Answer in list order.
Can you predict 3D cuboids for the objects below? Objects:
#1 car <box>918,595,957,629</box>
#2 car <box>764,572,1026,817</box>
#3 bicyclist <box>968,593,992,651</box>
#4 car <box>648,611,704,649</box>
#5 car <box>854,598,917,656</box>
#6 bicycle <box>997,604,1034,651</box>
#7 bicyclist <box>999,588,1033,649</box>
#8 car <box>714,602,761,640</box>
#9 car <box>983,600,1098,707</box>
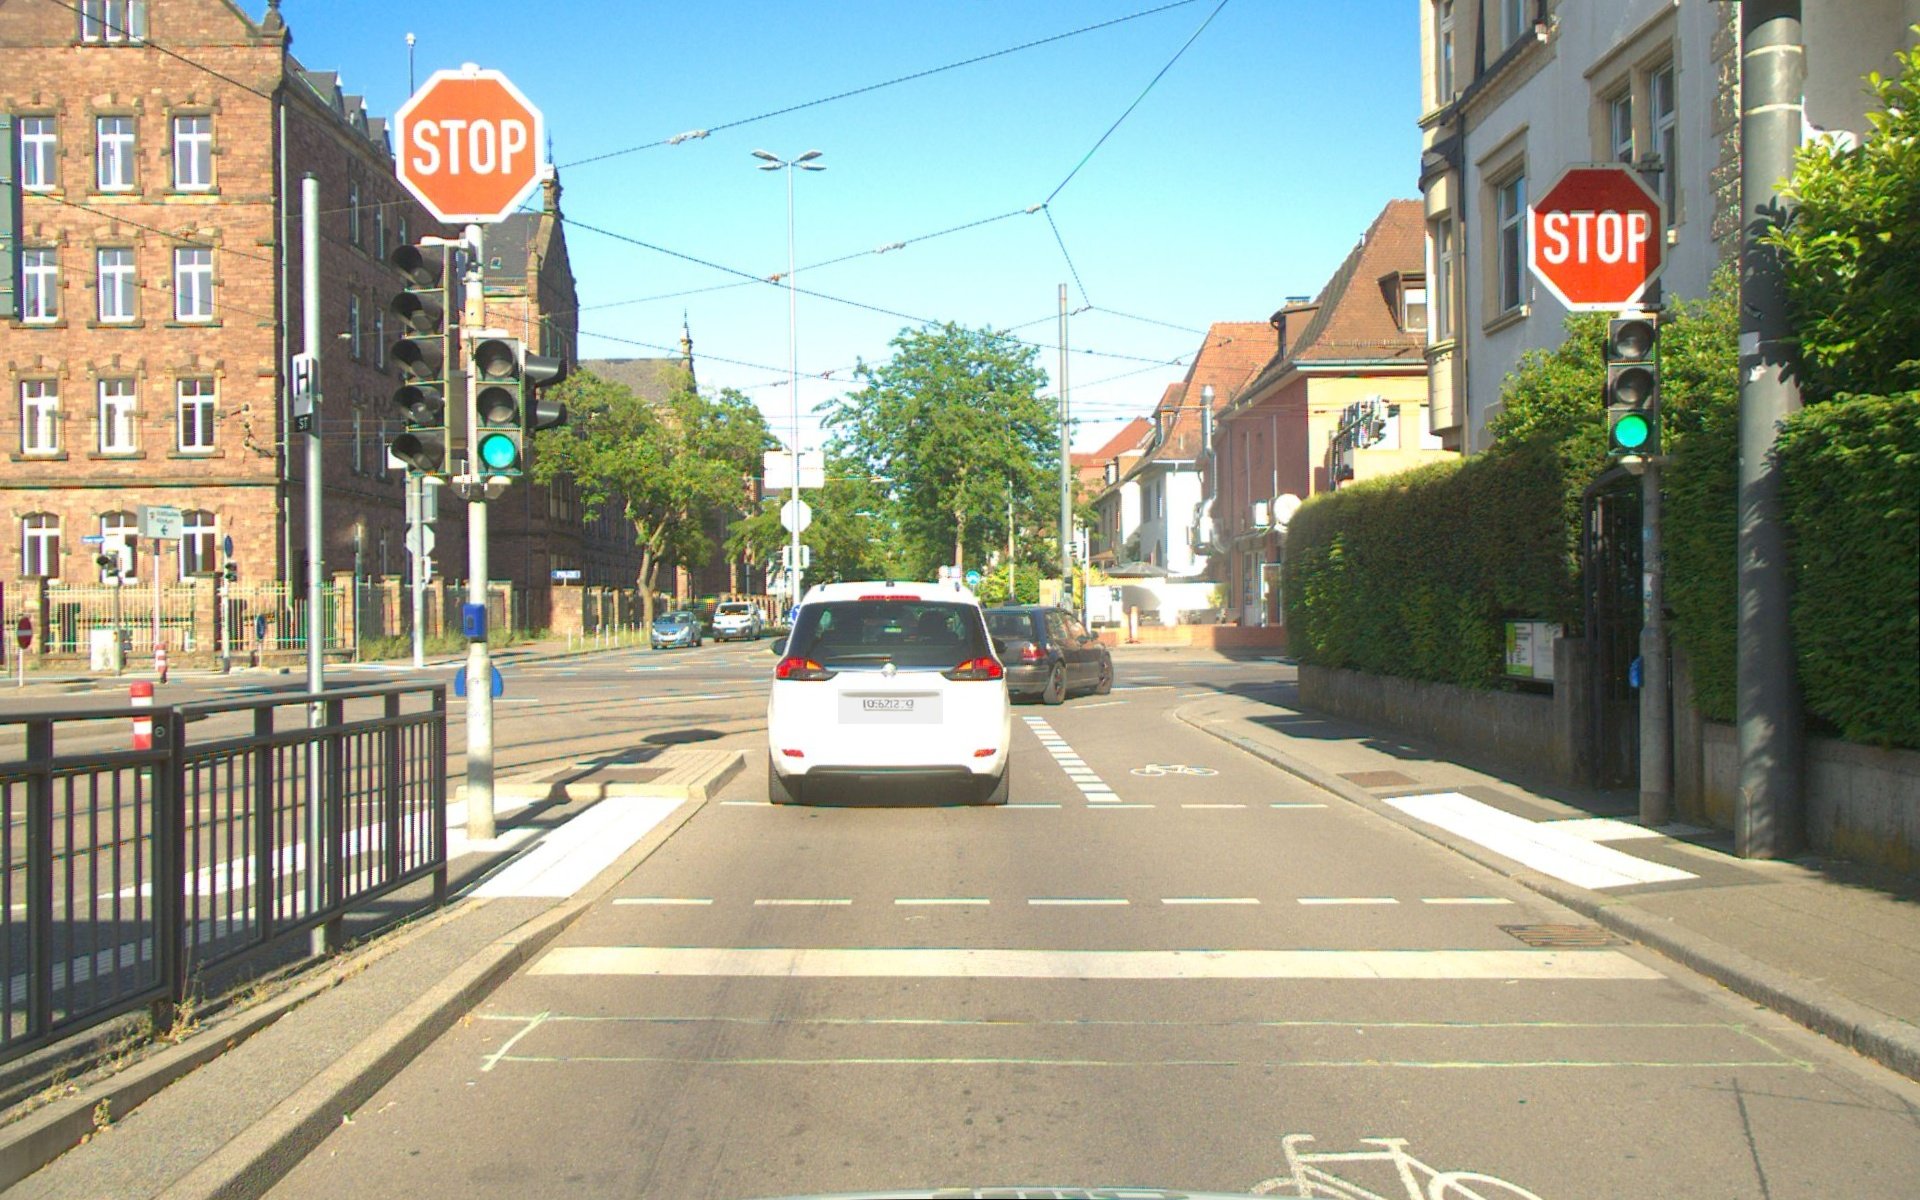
[{"bbox_3d":[-1.081,0.606,81.943,1.739,1.660,3.881,0,-1,2],"label":"car"},{"bbox_3d":[-0.455,0.666,13.347,1.797,1.671,3.918,0,-1,0],"label":"car"},{"bbox_3d":[0.595,0.646,48.586,0.671,1.663,1.015,0,-1,1],"label":"bicyclist"},{"bbox_3d":[-11.493,1.204,67.142,1.548,1.466,3.584,0,-1,1],"label":"car"},{"bbox_3d":[-2.197,0.796,49.471,1.740,1.660,3.879,0,-1,-1],"label":"car"},{"bbox_3d":[1.403,0.690,41.946,0.812,1.175,2.094,0,-1,-1],"label":"bicycle"},{"bbox_3d":[1.406,0.462,41.861,0.804,1.528,0.934,0,-1,-2],"label":"bicyclist"},{"bbox_3d":[-10.801,1.007,80.509,1.854,1.815,3.879,0,-1,-2],"label":"car"},{"bbox_3d":[1.146,0.736,24.823,1.554,1.445,3.900,-1,0,1],"label":"car"}]
